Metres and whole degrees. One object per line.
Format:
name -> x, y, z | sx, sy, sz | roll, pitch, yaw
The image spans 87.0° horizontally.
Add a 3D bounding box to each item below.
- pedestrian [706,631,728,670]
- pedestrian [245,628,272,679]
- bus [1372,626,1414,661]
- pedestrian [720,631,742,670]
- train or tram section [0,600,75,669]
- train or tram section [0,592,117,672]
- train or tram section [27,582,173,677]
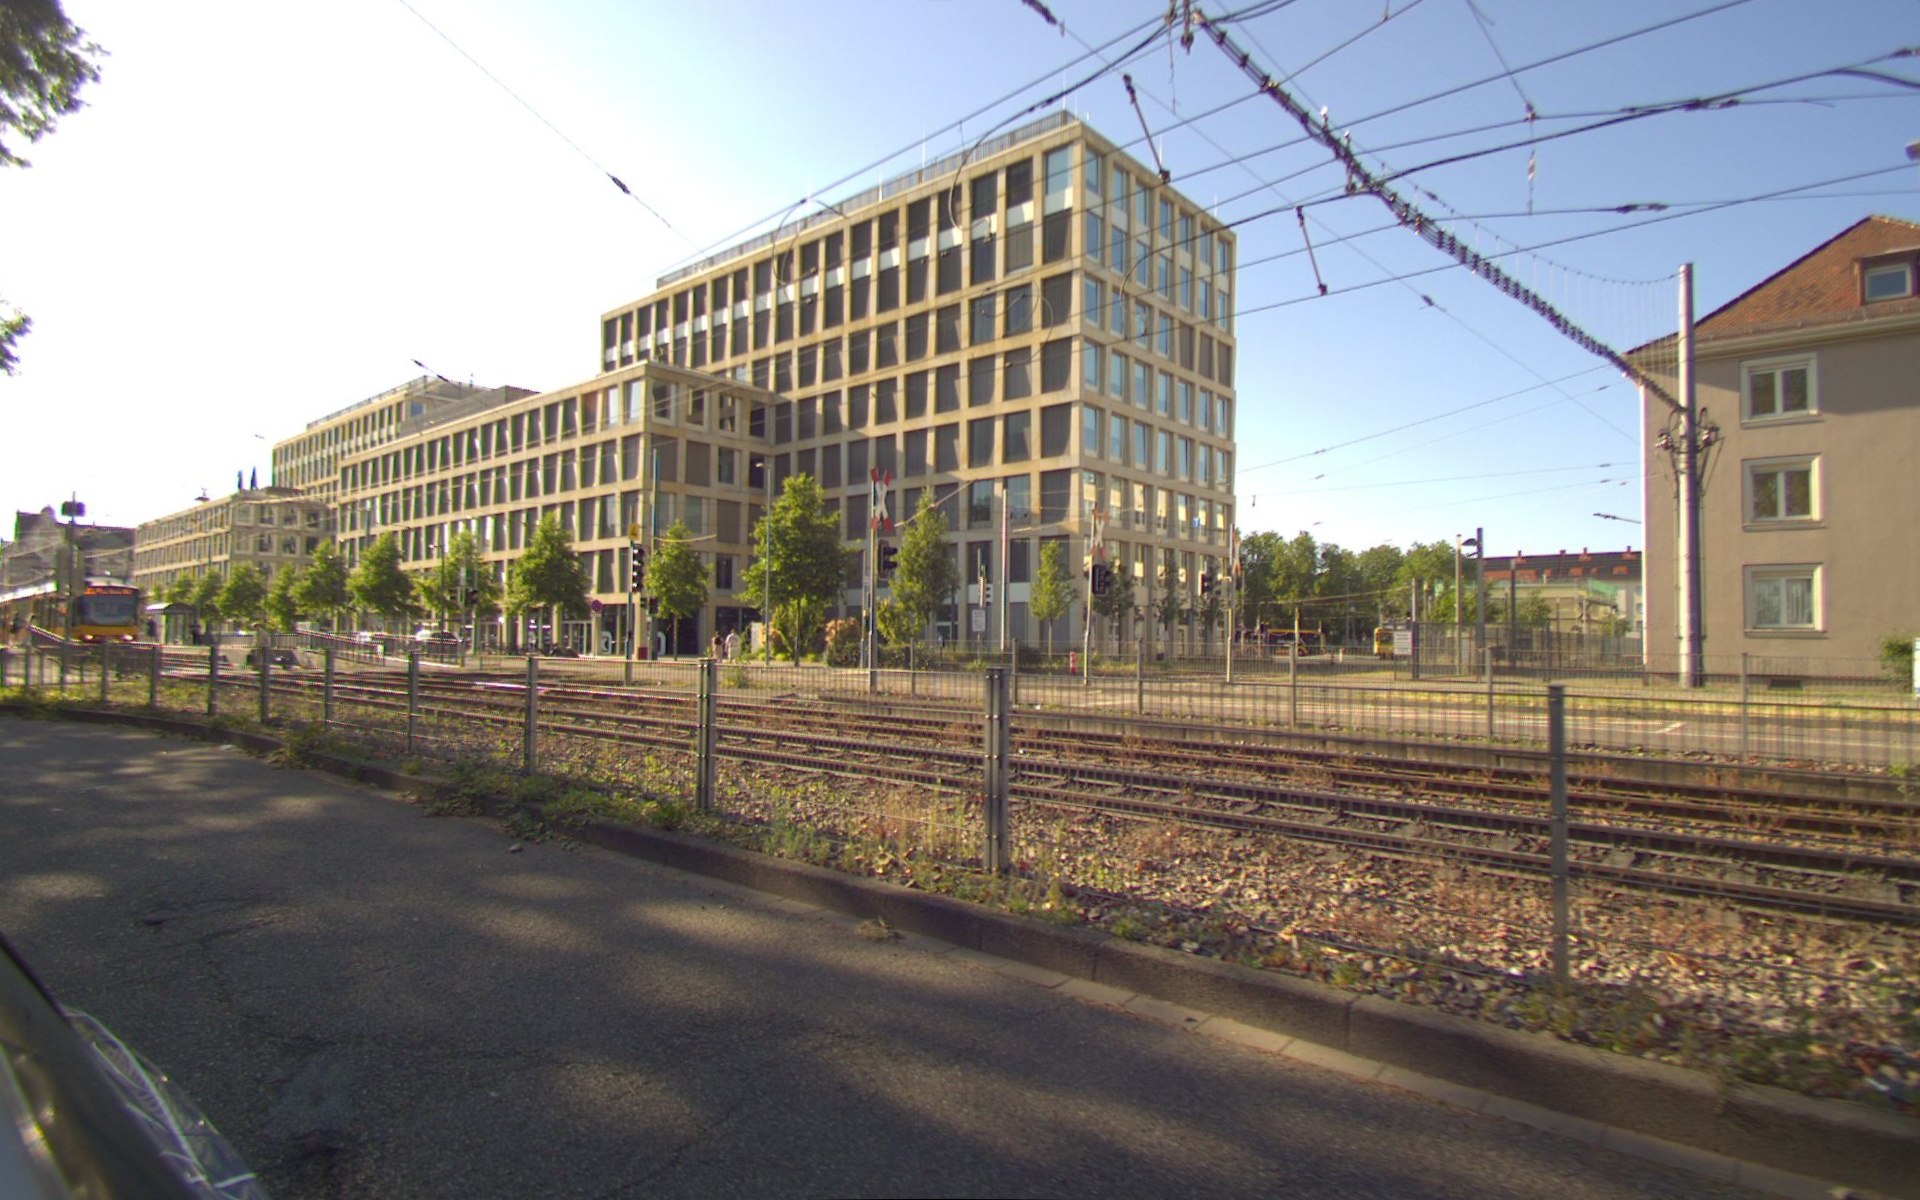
pedestrian -> -10.911, 2.279, 45.418 | 0.670, 1.730, 0.657 | -2, -4, 39
pedestrian -> -24.025, 1.833, 34.652 | 0.660, 1.730, 0.726 | 2, -4, -37
bus -> 41.344, 4.106, 96.432 | 1.908, 3.164, 7.606 | -2, -3, 37
pedestrian -> -10.402, 2.294, 45.998 | 0.670, 1.730, 0.657 | -2, -4, 39
train or tram section -> -58.340, 2.219, 62.722 | 14.211, 3.859, 3.274 | -2, -4, 41
train or tram section -> -48.329, 1.814, 53.961 | 11.837, 3.859, 3.274 | -2, -4, 41
train or tram section -> -39.380, 1.443, 46.122 | 11.837, 3.859, 3.274 | -2, -4, 41
